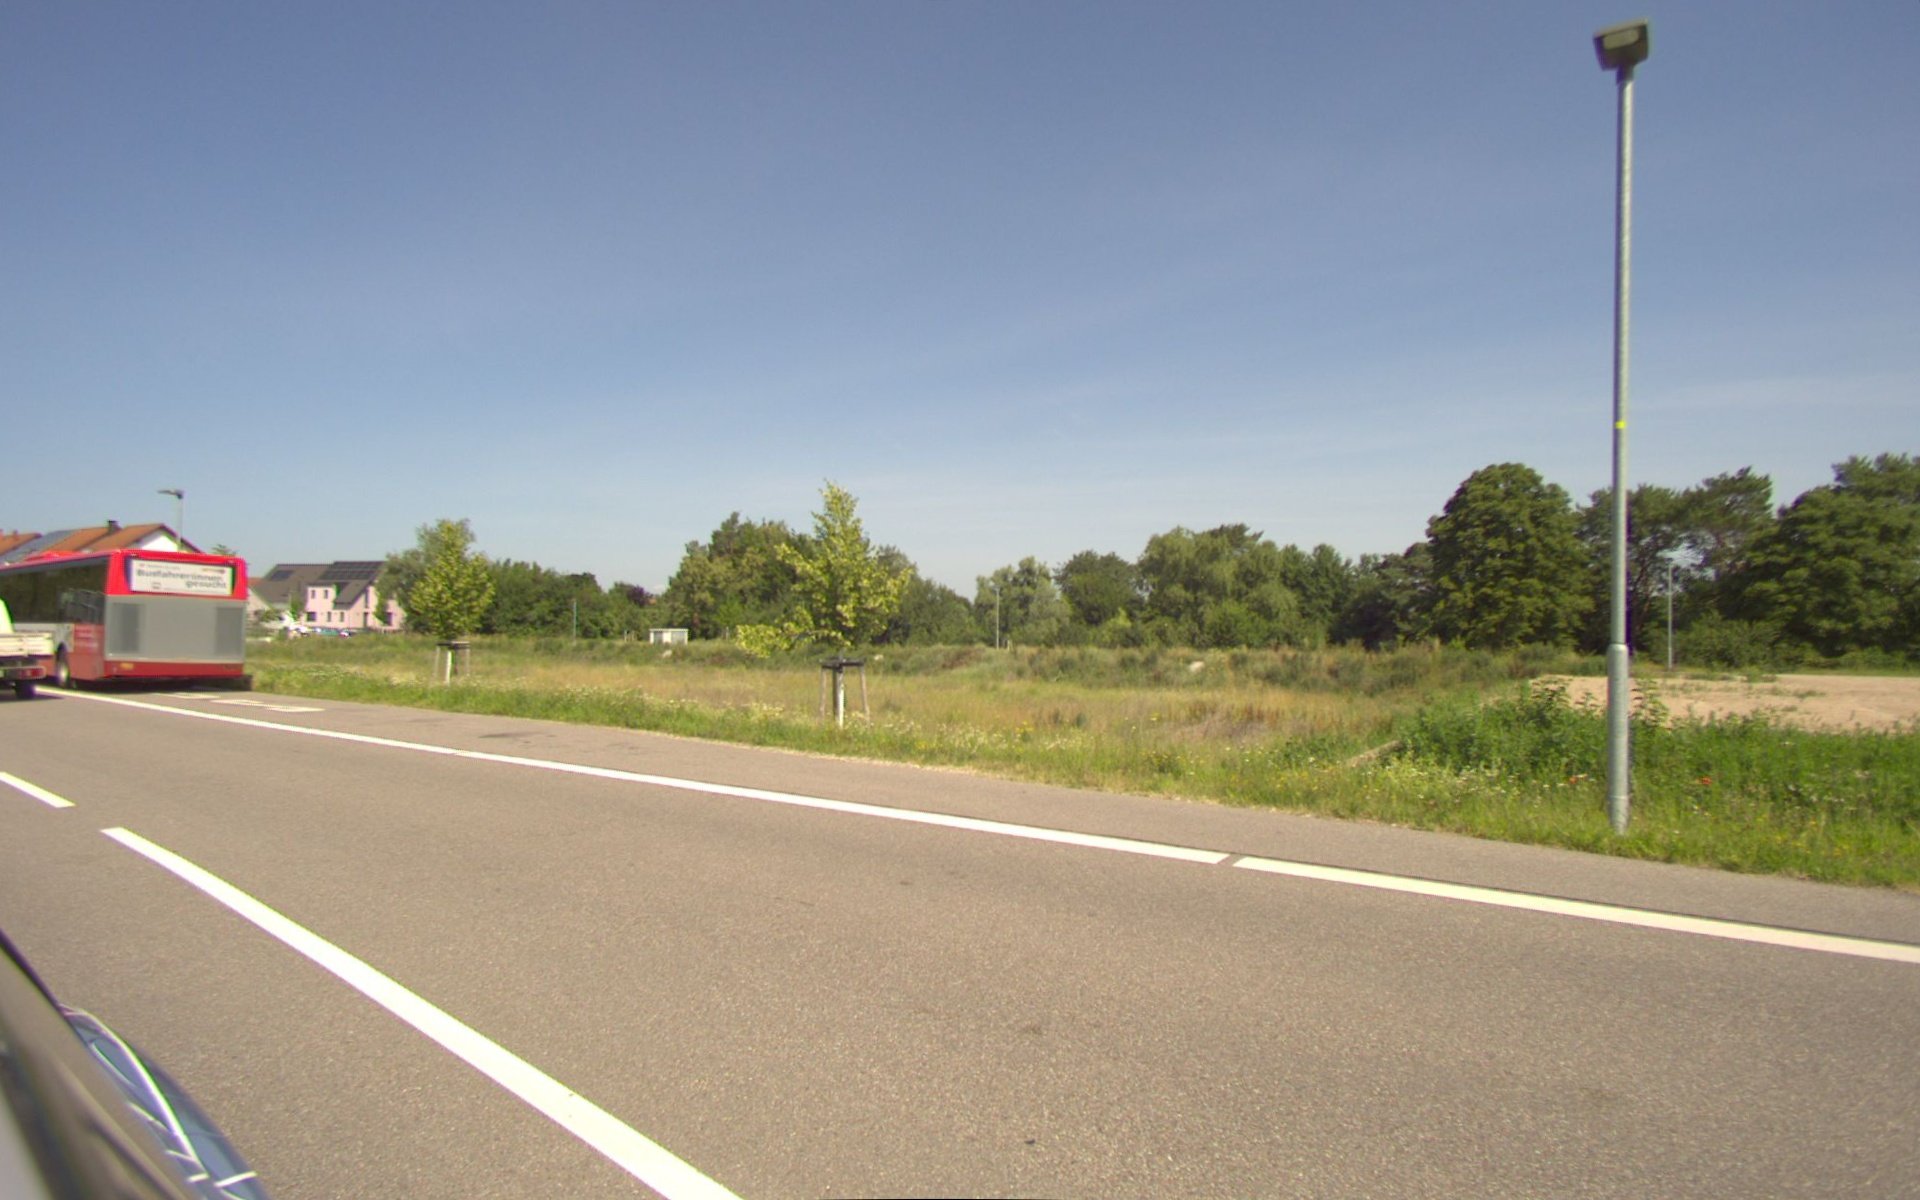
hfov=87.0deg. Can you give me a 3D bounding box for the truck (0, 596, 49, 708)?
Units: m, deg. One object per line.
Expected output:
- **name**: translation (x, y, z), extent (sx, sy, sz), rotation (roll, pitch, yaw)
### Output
- **truck**: translation (-19.563, 0.993, 19.473), extent (5.633, 2.000, 1.934), rotation (-2, -1, 36)

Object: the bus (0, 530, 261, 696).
- **bus**: translation (-21.219, 0.494, 24.878), extent (12.207, 3.312, 2.768), rotation (-2, -5, 37)
